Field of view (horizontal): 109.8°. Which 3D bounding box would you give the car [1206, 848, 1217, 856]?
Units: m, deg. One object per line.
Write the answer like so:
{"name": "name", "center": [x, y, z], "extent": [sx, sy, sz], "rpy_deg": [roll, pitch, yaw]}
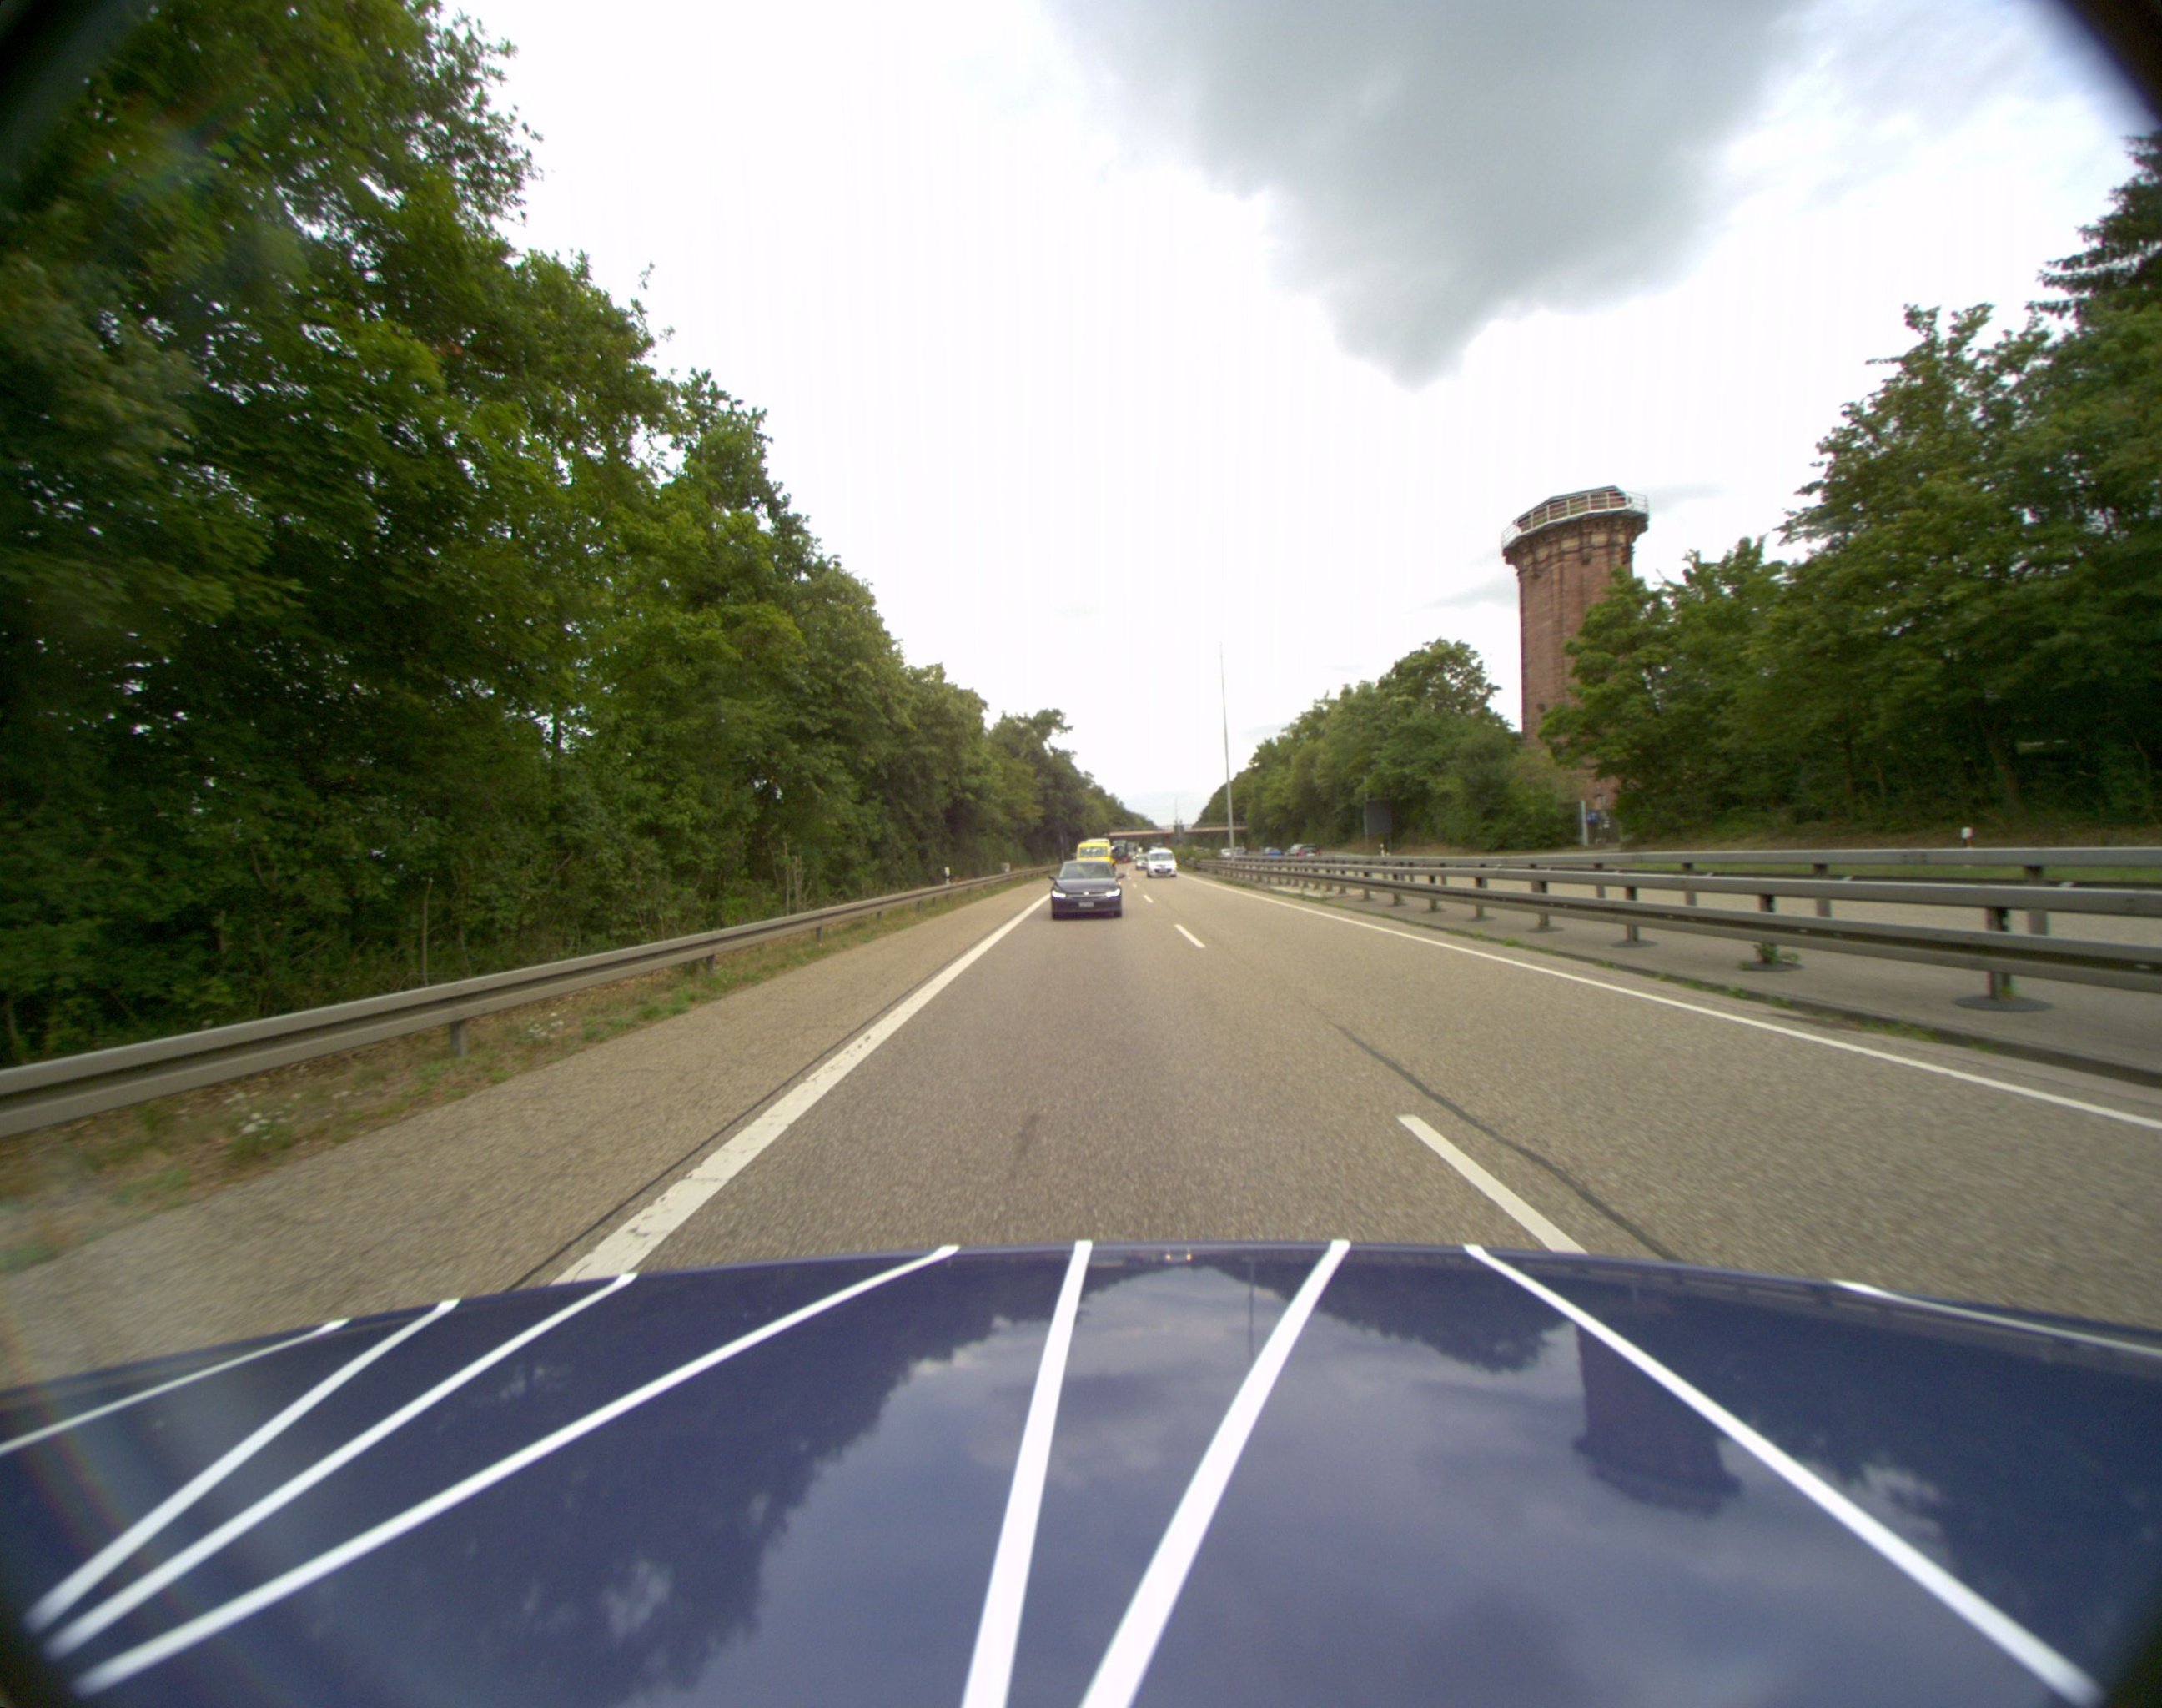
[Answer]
{"name": "car", "center": [25.799, -0.439, 150.224], "extent": [1.632, 1.499, 3.728], "rpy_deg": [-2, 1, 2]}

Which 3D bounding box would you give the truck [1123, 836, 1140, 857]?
{"name": "truck", "center": [11.317, -1.723, 169.334], "extent": [3.098, 4.462, 12.213], "rpy_deg": [-1, 1, 6]}

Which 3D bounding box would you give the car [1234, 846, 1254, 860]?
{"name": "car", "center": [20.391, -0.124, 95.394], "extent": [1.735, 1.592, 4.131], "rpy_deg": [-2, 1, 2]}

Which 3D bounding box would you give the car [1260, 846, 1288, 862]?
{"name": "car", "center": [18.857, -0.045, 74.384], "extent": [1.816, 1.441, 4.057], "rpy_deg": [-2, 1, 2]}

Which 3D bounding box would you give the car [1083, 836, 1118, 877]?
{"name": "car", "center": [1.481, 0.124, 54.605], "extent": [2.207, 2.732, 6.168], "rpy_deg": [-2, 1, 3]}

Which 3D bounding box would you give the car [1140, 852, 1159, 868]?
{"name": "car", "center": [6.751, 0.578, 74.463], "extent": [1.772, 1.416, 4.199], "rpy_deg": [-1, 1, 6]}

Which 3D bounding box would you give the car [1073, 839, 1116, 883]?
{"name": "car", "center": [0.852, 0.354, 44.071], "extent": [2.247, 2.334, 5.225], "rpy_deg": [-2, 1, 3]}

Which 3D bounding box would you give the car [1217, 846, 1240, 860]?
{"name": "car", "center": [15.424, -0.129, 79.425], "extent": [1.716, 1.418, 4.057], "rpy_deg": [-2, 1, 2]}

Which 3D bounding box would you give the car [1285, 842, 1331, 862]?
{"name": "car", "center": [15.728, -0.164, 52.821], "extent": [1.983, 1.292, 4.068], "rpy_deg": [-2, 1, 0]}

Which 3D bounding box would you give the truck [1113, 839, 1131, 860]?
{"name": "truck", "center": [7.051, -0.779, 129.823], "extent": [2.547, 3.564, 6.459], "rpy_deg": [-1, 1, 6]}

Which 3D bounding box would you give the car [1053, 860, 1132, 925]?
{"name": "car", "center": [0.194, 0.913, 20.043], "extent": [1.801, 1.398, 4.638], "rpy_deg": [-2, 1, -2]}

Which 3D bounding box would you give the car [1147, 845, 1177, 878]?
{"name": "car", "center": [5.185, 0.443, 49.202], "extent": [1.821, 1.993, 4.424], "rpy_deg": [-1, 1, 5]}
